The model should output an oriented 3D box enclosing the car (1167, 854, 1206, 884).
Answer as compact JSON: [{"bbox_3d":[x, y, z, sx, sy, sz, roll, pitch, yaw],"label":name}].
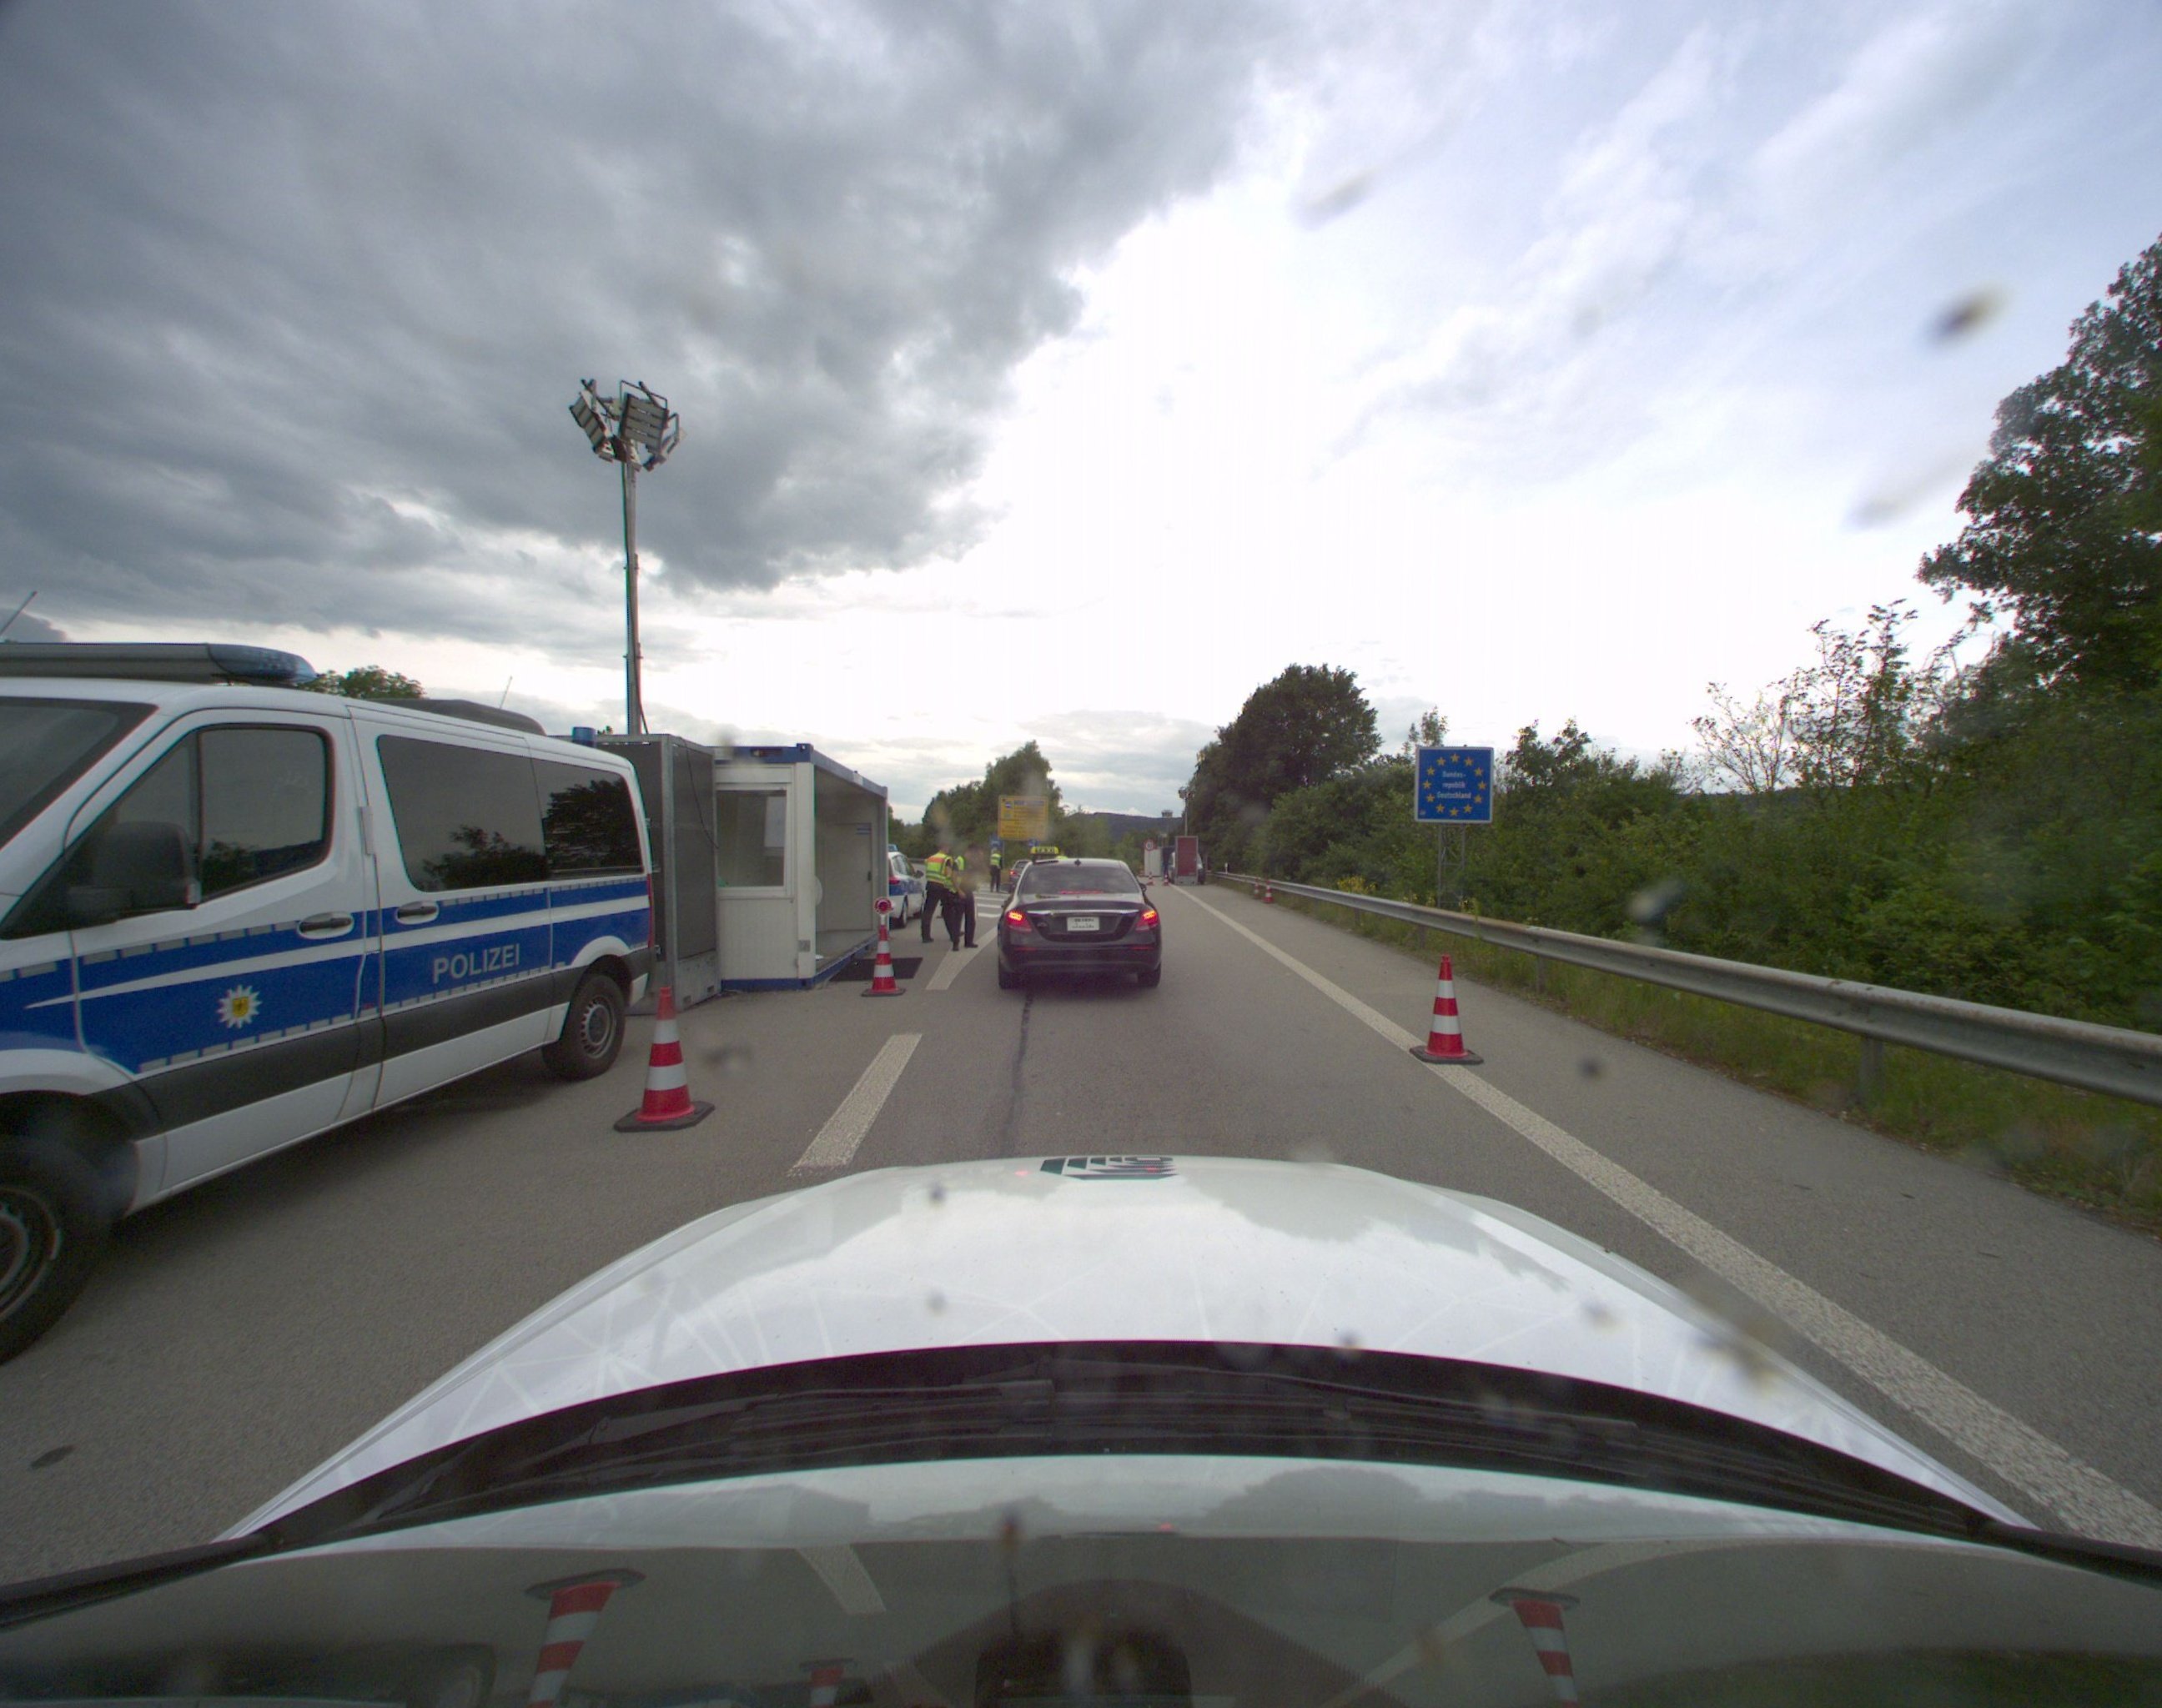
[{"bbox_3d":[6.293,0.836,48.982,1.908,1.678,5.086,1,0,3],"label":"car"}]

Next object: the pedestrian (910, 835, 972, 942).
[{"bbox_3d":[-2.469,0.595,14.409,0.807,1.830,0.812,-1,-1,13],"label":"pedestrian"}]

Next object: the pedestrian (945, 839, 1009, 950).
[{"bbox_3d":[-1.689,0.631,13.186,0.764,1.718,0.810,-1,-1,-29],"label":"pedestrian"}]

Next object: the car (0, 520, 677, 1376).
[{"bbox_3d":[-4.184,0.277,3.890,2.024,2.463,5.275,0,0,-2],"label":"car"}]

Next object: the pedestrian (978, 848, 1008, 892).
[{"bbox_3d":[-3.585,0.643,33.321,0.901,1.769,0.918,0,0,17],"label":"pedestrian"}]

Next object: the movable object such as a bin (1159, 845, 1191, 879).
[{"bbox_3d":[6.630,0.551,57.826,1.985,2.280,4.172,0,0,3],"label":"movable object such as a bin"}]

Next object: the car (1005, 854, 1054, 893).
[{"bbox_3d":[-2.094,0.754,34.066,1.850,1.498,4.254,0,0,-2],"label":"car"}]

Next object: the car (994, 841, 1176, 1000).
[{"bbox_3d":[-0.079,0.674,10.473,1.851,1.595,4.370,0,0,-4],"label":"car"}]

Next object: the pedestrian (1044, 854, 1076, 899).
[{"bbox_3d":[-0.805,0.854,31.456,0.914,1.698,0.905,0,-1,-31],"label":"pedestrian"}]

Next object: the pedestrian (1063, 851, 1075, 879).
[{"bbox_3d":[-0.842,0.765,57.415,0.659,1.961,0.763,-1,-1,17],"label":"pedestrian"}]

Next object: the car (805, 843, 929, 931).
[{"bbox_3d":[-4.651,0.662,18.300,1.864,1.743,4.004,0,0,-3],"label":"car"}]
